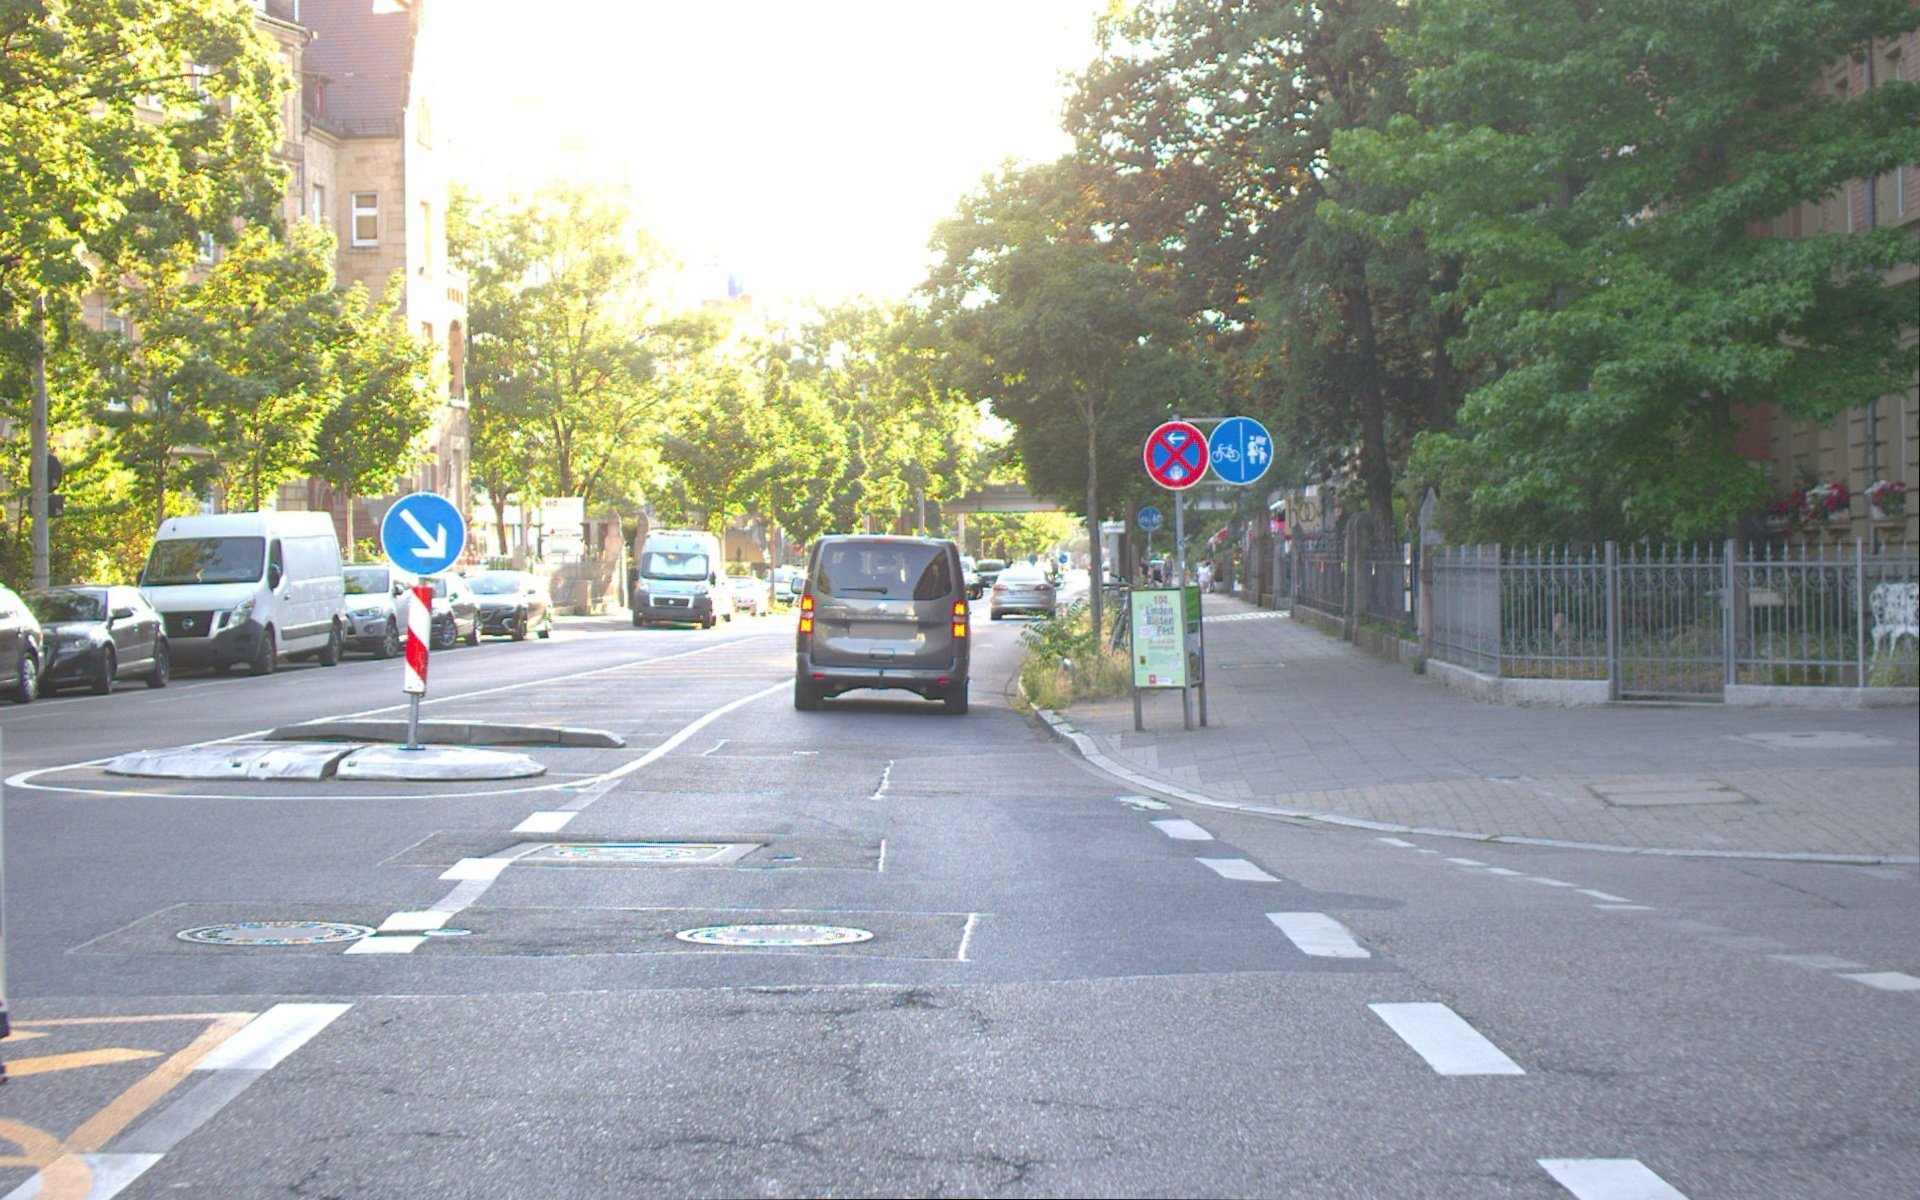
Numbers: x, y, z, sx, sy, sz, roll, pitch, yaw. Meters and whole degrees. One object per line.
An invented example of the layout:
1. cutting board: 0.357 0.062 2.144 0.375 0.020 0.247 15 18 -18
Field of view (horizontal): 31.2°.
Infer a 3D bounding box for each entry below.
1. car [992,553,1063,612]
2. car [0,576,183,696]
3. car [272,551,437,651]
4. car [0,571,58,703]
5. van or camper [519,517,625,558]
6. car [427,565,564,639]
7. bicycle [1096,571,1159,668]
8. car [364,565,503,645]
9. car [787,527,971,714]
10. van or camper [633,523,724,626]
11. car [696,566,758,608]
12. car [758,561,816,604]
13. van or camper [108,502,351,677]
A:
1. car: 1.962 -0.511 98.846 1.993 1.628 4.000 0 1 2
2. car: -11.535 0.442 44.894 1.628 1.424 4.242 -1 1 2
3. car: -10.544 -0.011 60.143 1.866 1.639 4.571 -1 1 3
4. car: -11.844 0.441 39.294 1.624 1.501 4.544 -1 1 3
5. van or camper: -25.356 -4.102 225.083 6.563 2.513 2.449 1 1 2
6. car: -9.703 0.013 72.120 1.994 1.478 4.829 0 1 3
7. bicycle: 2.104 0.233 43.413 0.646 1.163 1.931 1 1 -1
8. car: -10.029 0.069 65.729 1.736 1.440 4.625 0 1 3
9. car: -0.865 0.185 37.809 1.887 1.918 3.839 -1 1 -1
10. van or camper: -7.549 -0.706 92.669 1.993 2.659 6.039 1 1 -1
11. car: -7.250 -0.431 107.375 1.536 1.244 3.614 1 1 2
12. car: -6.123 -0.641 122.007 1.697 1.446 4.000 1 1 2
13. van or camper: -11.079 -0.202 52.677 2.091 2.460 6.305 -1 1 2
